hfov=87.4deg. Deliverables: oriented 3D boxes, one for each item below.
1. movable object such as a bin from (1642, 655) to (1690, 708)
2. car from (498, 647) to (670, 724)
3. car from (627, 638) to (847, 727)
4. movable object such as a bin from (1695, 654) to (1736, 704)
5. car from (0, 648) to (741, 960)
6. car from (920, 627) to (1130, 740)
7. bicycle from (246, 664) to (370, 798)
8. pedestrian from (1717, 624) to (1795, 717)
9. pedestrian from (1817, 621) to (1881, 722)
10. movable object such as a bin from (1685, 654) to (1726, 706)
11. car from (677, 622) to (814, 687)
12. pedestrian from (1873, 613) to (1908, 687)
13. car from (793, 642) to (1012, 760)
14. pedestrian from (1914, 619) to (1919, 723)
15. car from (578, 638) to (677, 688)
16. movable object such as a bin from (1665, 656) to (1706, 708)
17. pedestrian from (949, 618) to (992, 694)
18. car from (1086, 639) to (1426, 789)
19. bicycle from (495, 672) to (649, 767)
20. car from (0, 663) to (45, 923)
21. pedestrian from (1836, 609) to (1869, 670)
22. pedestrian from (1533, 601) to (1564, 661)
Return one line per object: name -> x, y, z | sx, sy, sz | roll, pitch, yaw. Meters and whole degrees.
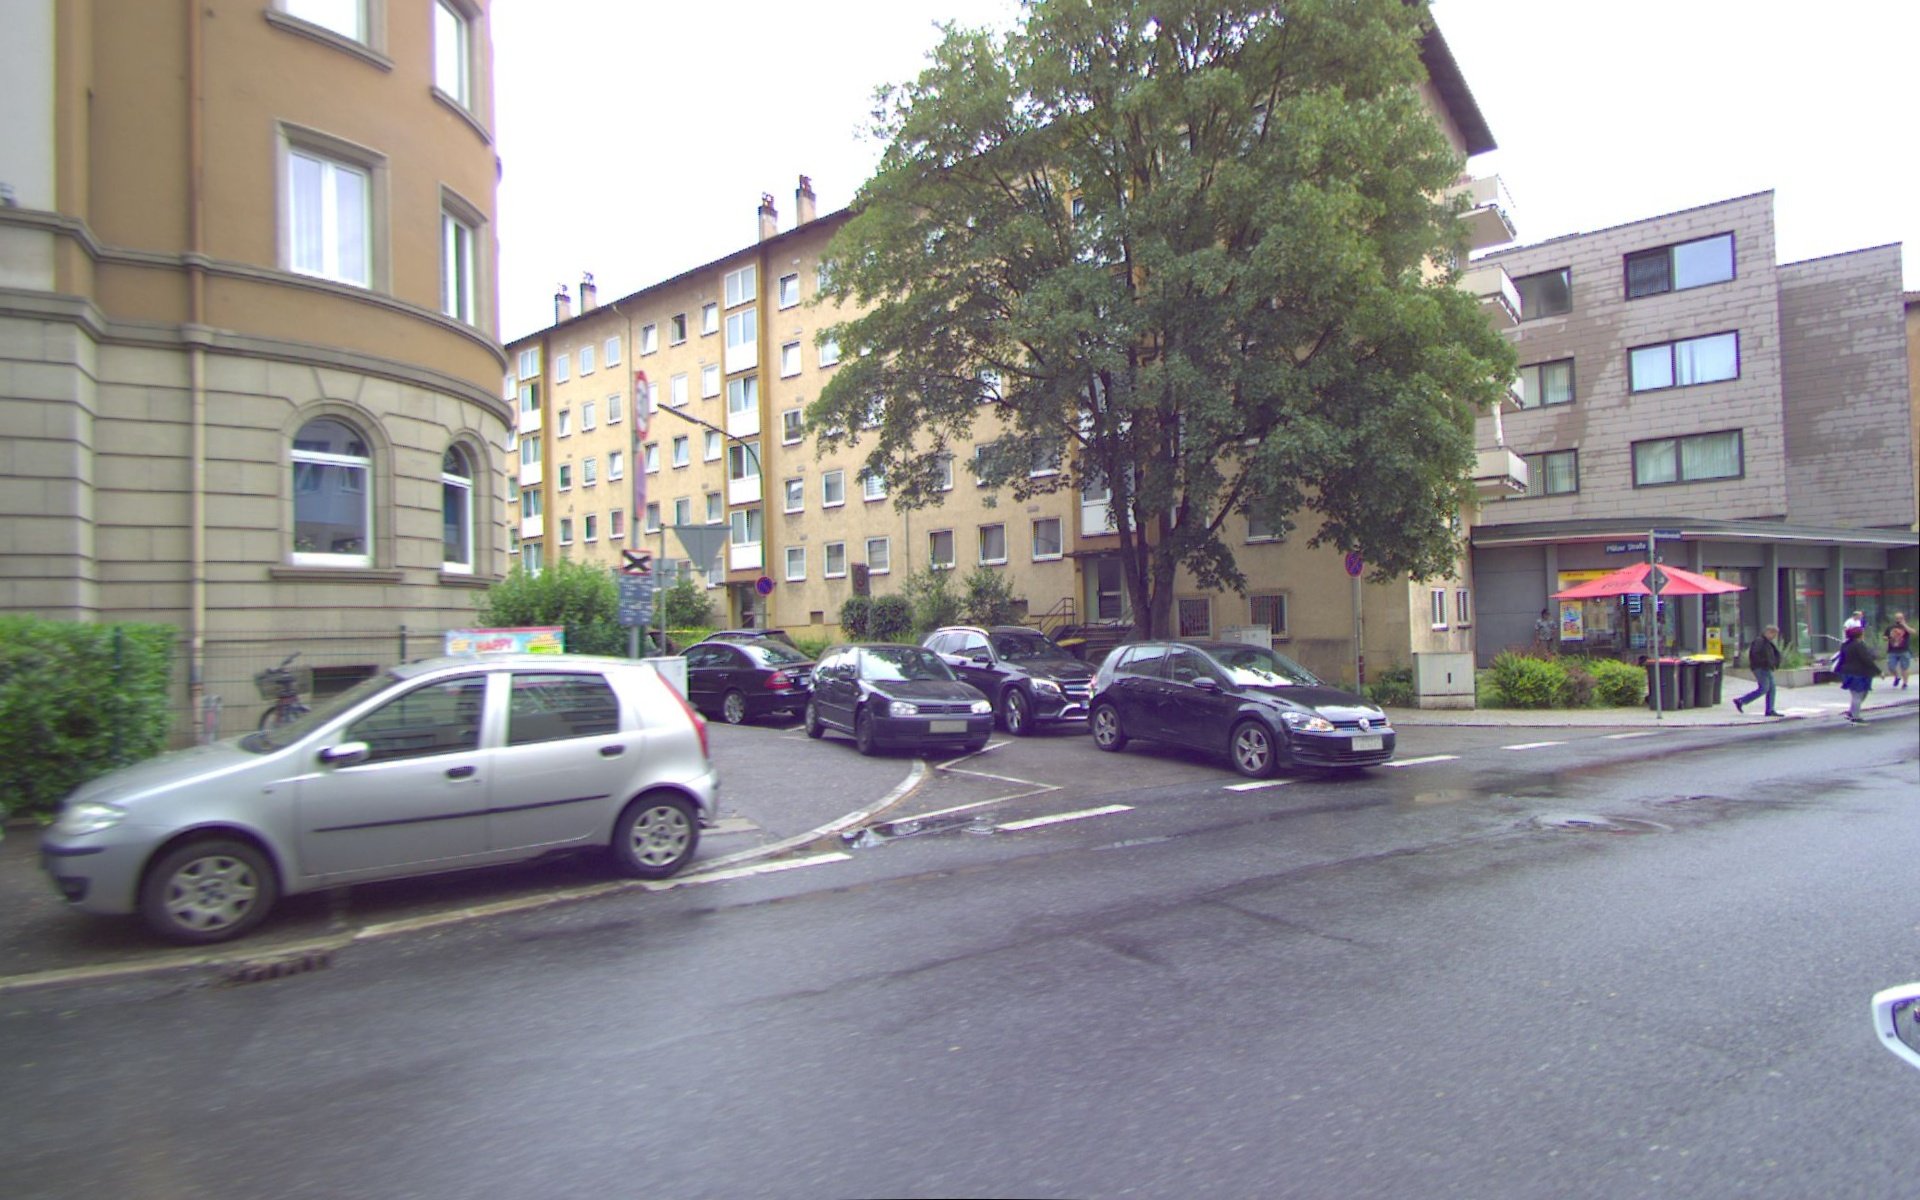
movable object such as a bin -> 14.938, 1.716, 21.267 | 0.722, 1.095, 0.551 | 2, -4, -29
car -> -8.182, 1.775, 21.752 | 3.776, 1.459, 1.705 | -1, -2, 37
car -> -4.217, 1.449, 18.732 | 4.165, 1.439, 1.705 | -1, -2, 37
movable object such as a bin -> 16.724, 1.746, 22.240 | 0.530, 1.085, 0.472 | 0, -3, 7
car -> -3.543, 1.072, 6.601 | 3.799, 1.473, 1.622 | 1, -2, -33
car -> 0.947, 1.289, 16.649 | 1.673, 1.603, 3.793 | -1, -1, -29
bicycle -> -6.180, 1.153, 9.459 | 0.799, 1.060, 2.325 | 1, -3, -37
pedestrian -> 15.599, 1.346, 19.695 | 0.708, 1.754, 1.054 | 0, -1, -39
pedestrian -> 15.642, 1.257, 17.688 | 0.731, 1.731, 0.677 | -4, -4, 40
movable object such as a bin -> 16.197, 1.728, 21.828 | 0.599, 1.095, 0.488 | 2, -4, -29
car -> -6.015, 1.482, 28.130 | 3.545, 1.528, 1.685 | 2, 2, 30
pedestrian -> 23.355, 1.240, 25.204 | 0.462, 1.813, 0.538 | 2, 0, -38
car -> -0.943, 1.310, 14.053 | 1.720, 1.408, 3.804 | 2, -3, -26
pedestrian -> 16.294, 1.188, 16.766 | 0.459, 1.732, 0.542 | 2, 0, 40
car -> -10.413, 1.924, 31.384 | 3.315, 1.238, 1.488 | 2, 2, 41
movable object such as a bin -> 15.589, 1.748, 21.587 | 0.599, 1.095, 0.488 | 2, -4, -29
pedestrian -> 0.249, 1.292, 23.448 | 0.618, 1.705, 0.814 | 2, 2, 41
car -> 3.355, 1.227, 12.083 | 1.722, 1.408, 3.798 | 2, -2, -30
bicycle -> -4.654, 1.402, 12.047 | 1.673, 1.024, 0.806 | -2, -2, 27
car -> -7.158, 1.078, 4.742 | 3.897, 1.473, 1.645 | 1, -3, -31
pedestrian -> 25.899, 1.145, 29.157 | 0.651, 1.728, 0.658 | 2, 0, 44
pedestrian -> 18.226, 0.968, 31.103 | 0.622, 1.840, 0.638 | -1, -2, 12
